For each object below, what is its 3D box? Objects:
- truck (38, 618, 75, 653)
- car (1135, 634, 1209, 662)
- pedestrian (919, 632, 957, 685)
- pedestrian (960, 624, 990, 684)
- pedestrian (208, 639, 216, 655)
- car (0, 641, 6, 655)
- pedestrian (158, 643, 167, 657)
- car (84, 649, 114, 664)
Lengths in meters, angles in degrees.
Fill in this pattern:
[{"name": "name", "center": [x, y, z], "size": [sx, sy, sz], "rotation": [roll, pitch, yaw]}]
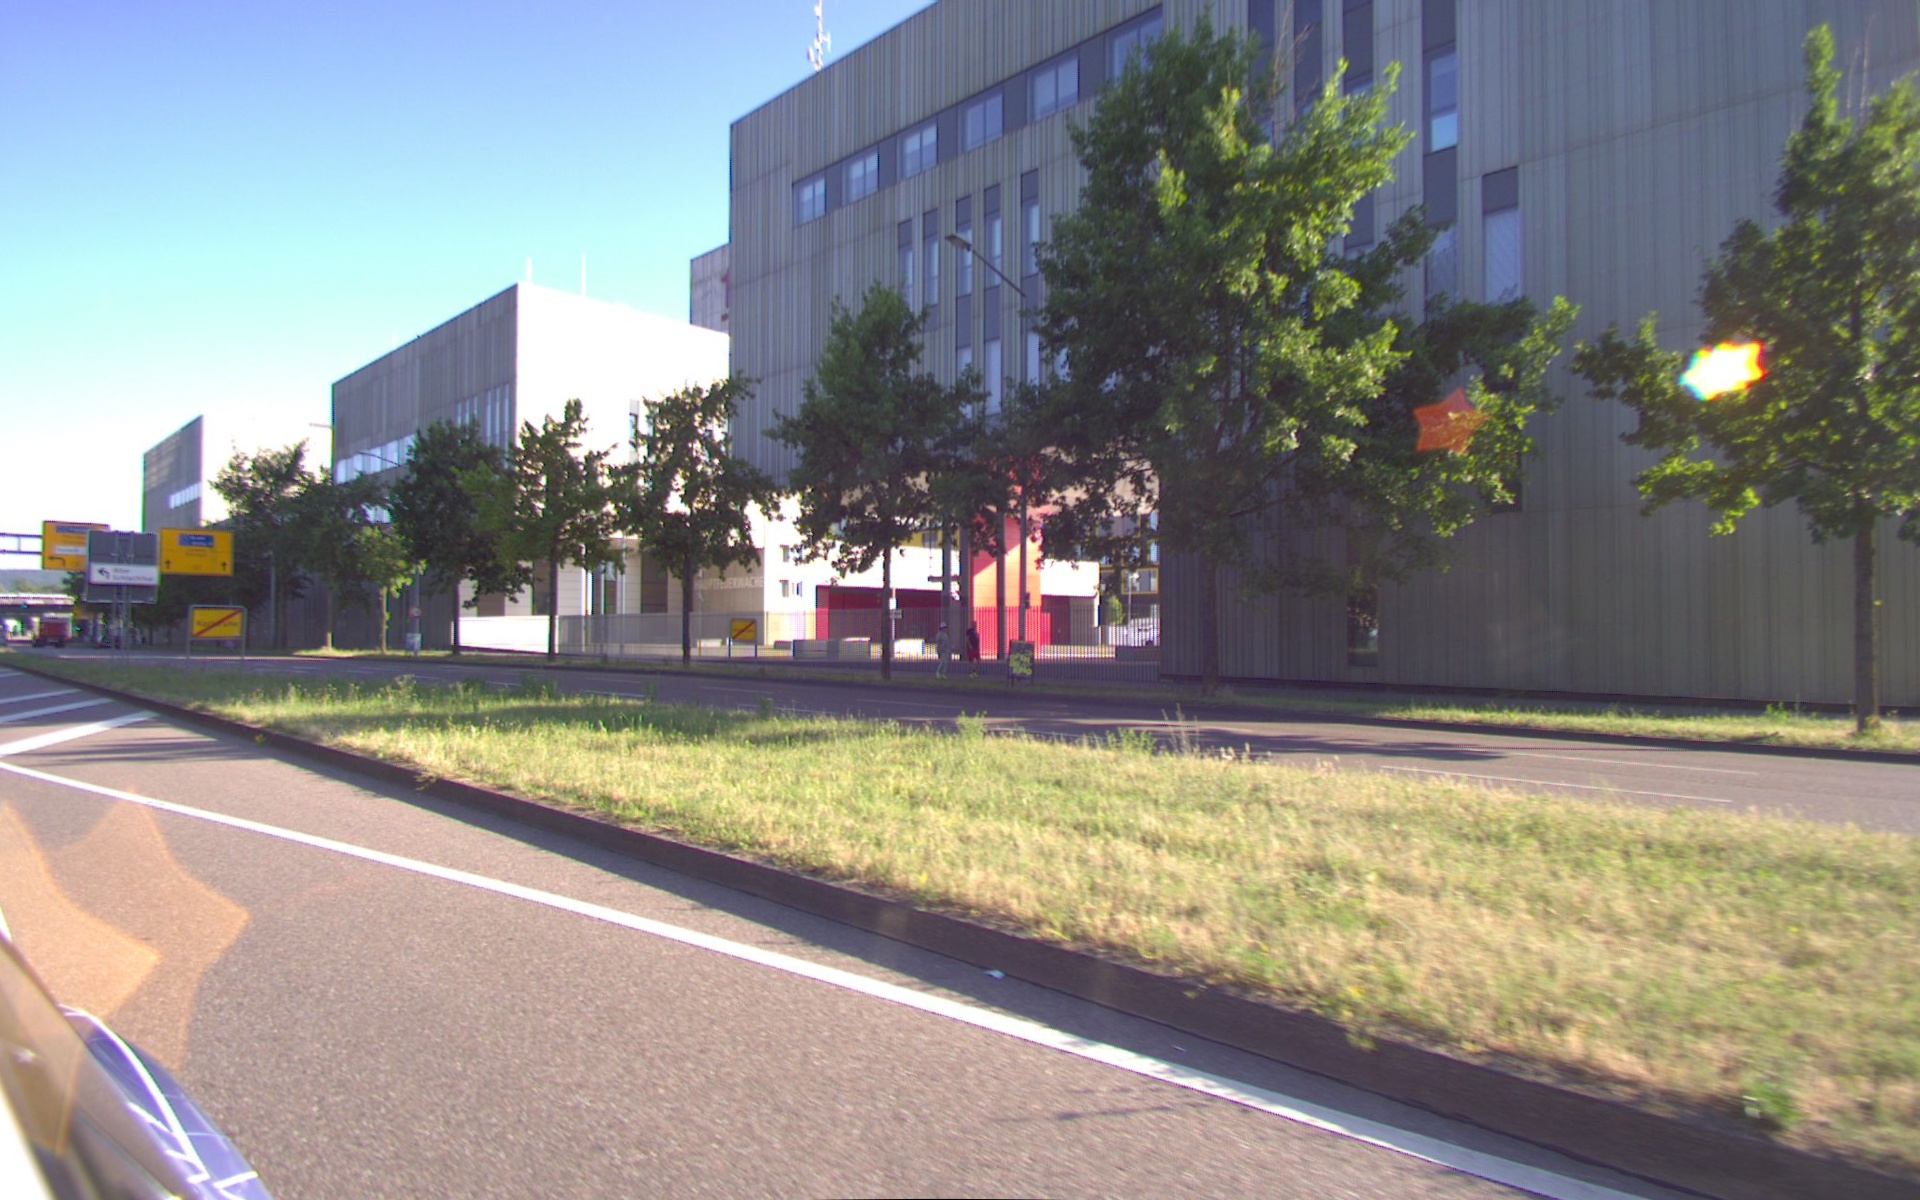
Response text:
[{"name": "truck", "center": [-104.459, 4.099, 117.128], "size": [2.961, 3.840, 10.103], "rotation": [1, -3, -41]}, {"name": "car", "center": [15.030, 3.385, 71.904], "size": [4.785, 1.889, 1.885], "rotation": [-2, -3, 42]}, {"name": "pedestrian", "center": [-0.697, 1.830, 31.942], "size": [0.909, 1.614, 0.767], "rotation": [-2, -3, 44]}, {"name": "pedestrian", "center": [0.476, 1.697, 32.060], "size": [0.717, 1.855, 0.625], "rotation": [-2, -3, 44]}, {"name": "pedestrian", "center": [-81.168, 5.081, 109.763], "size": [0.649, 1.781, 0.596], "rotation": [-3, -3, 44]}, {"name": "car", "center": [-127.548, 6.401, 133.745], "size": [4.403, 1.830, 1.971], "rotation": [-2, -4, 45]}, {"name": "pedestrian", "center": [-91.447, 5.721, 116.066], "size": [0.725, 1.641, 0.689], "rotation": [-3, -3, 43]}, {"name": "car", "center": [-87.675, 5.747, 103.042], "size": [3.862, 1.524, 1.580], "rotation": [-2, -3, 38]}]
